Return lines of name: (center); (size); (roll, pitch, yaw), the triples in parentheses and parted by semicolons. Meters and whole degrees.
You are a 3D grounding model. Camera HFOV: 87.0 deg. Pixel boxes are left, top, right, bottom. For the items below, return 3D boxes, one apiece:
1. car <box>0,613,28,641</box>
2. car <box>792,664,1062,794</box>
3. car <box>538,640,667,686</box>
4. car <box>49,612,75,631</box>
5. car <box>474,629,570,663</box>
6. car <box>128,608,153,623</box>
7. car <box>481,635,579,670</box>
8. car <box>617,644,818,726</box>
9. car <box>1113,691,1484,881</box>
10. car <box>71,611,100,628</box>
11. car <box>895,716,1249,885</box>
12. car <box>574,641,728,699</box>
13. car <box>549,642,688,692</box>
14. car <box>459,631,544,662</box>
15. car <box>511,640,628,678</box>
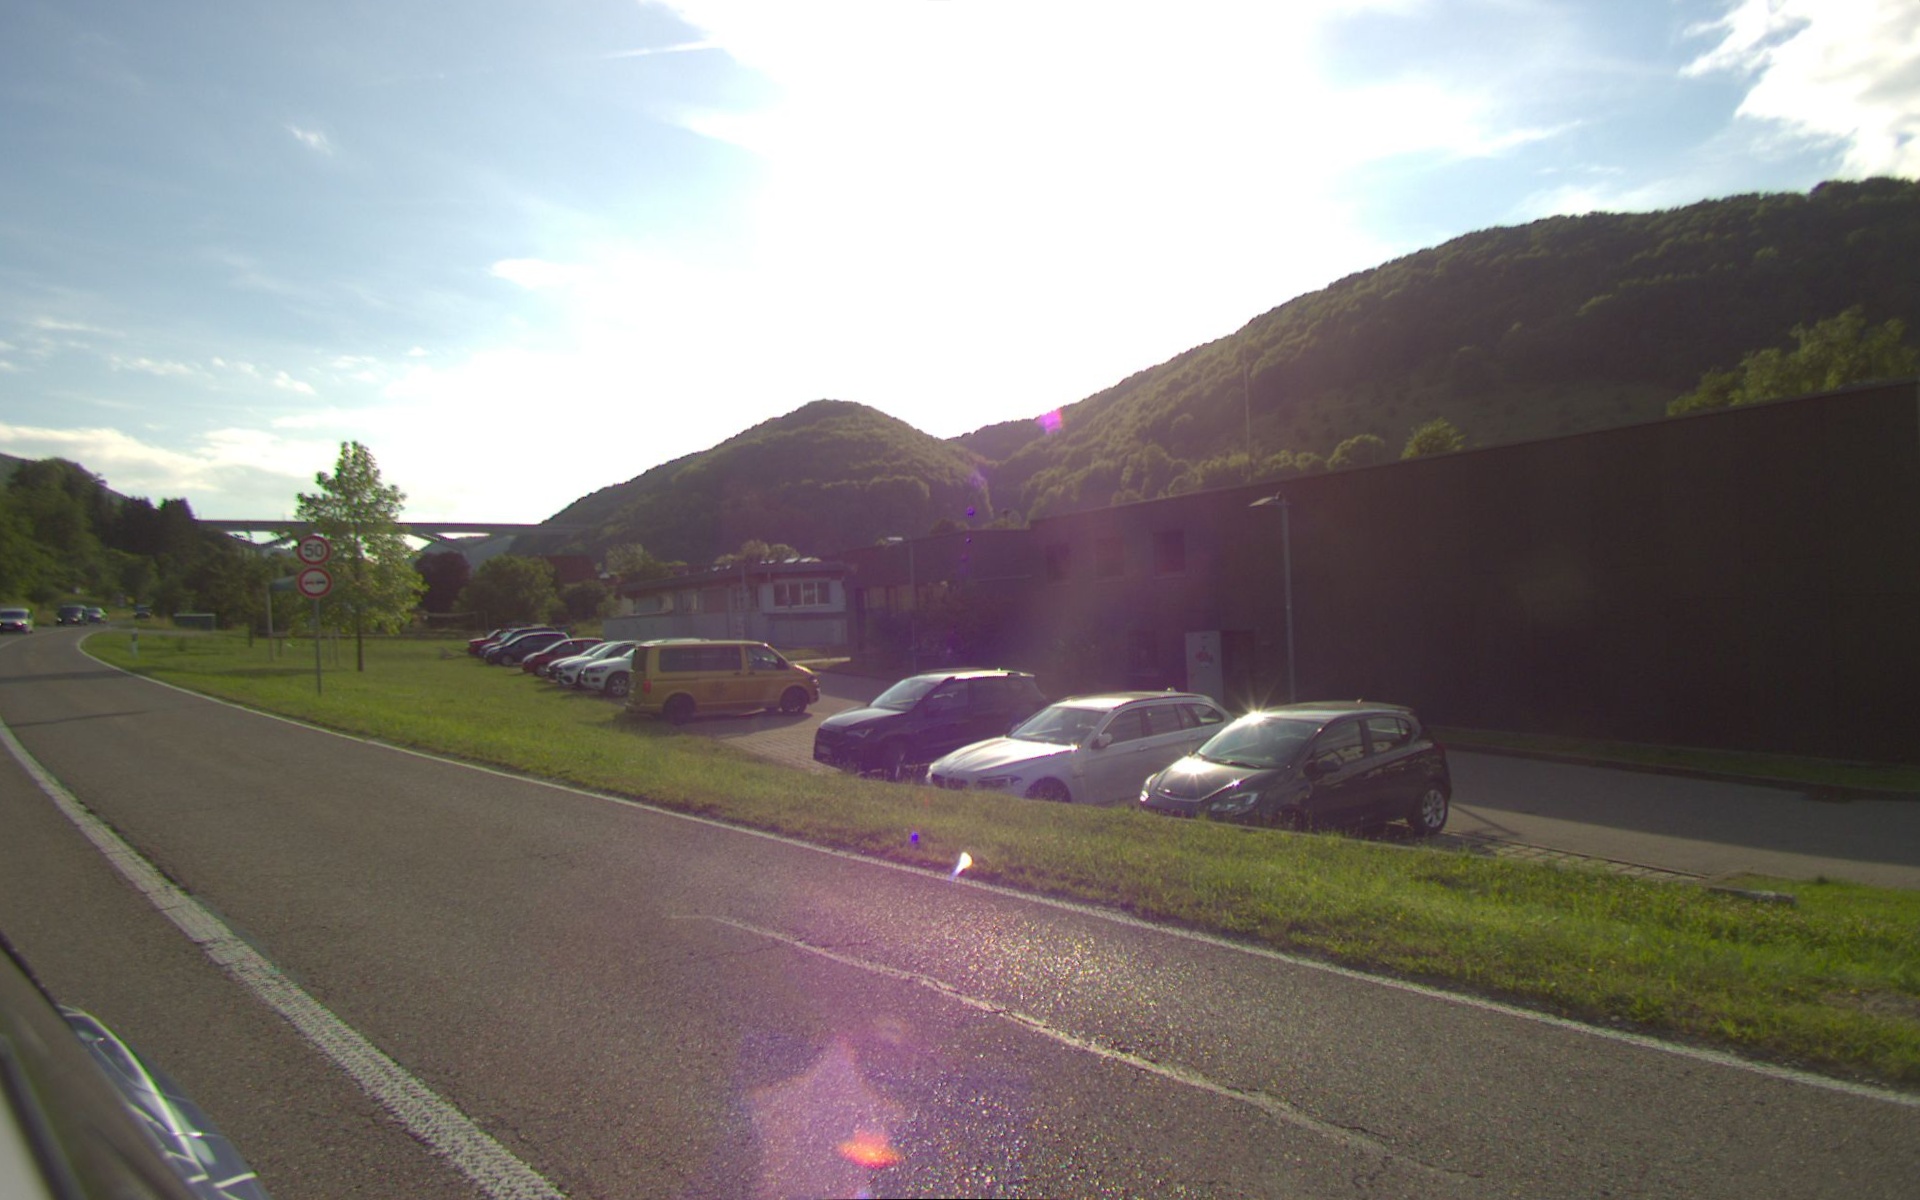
car: (-66.821, 1.892, 71.053); (1.772, 1.749, 4.290); (-1, -3, -40)
car: (-0.508, 2.078, 17.286); (4.226, 1.650, 1.917); (-2, -1, -35)
car: (-13.720, 2.363, 38.882); (4.371, 1.595, 2.006); (1, -2, -32)
car: (-84.865, 2.040, 95.662); (1.653, 1.659, 3.352); (-1, -3, -38)
car: (-24.191, 2.507, 55.930); (4.595, 1.776, 2.006); (0, -2, -31)
car: (-107.768, 1.976, 133.104); (1.880, 1.918, 4.012); (0, 0, -30)
car: (-21.946, 2.632, 51.657); (4.371, 1.595, 2.006); (-1, -1, -31)
car: (-6.128, 2.079, 25.690); (4.583, 1.827, 2.006); (0, -2, -30)
car: (3.848, 1.921, 11.393); (3.932, 1.546, 1.839); (0, -2, -31)
car: (-92.434, 2.088, 107.049); (1.967, 1.730, 4.009); (-1, -1, -36)
car: (1.584, 2.511, 13.560); (4.577, 1.508, 1.918); (1, -2, -34)
car: (-10.072, 2.223, 33.042); (4.477, 1.714, 2.006); (0, -2, -30)
car: (-12.094, 2.316, 35.913); (4.370, 1.599, 2.006); (0, -2, -30)
car: (-27.297, 2.741, 60.266); (4.371, 1.733, 2.006); (0, -2, -31)
car: (-16.597, 2.478, 43.032); (4.370, 1.463, 2.006); (0, -2, -30)
